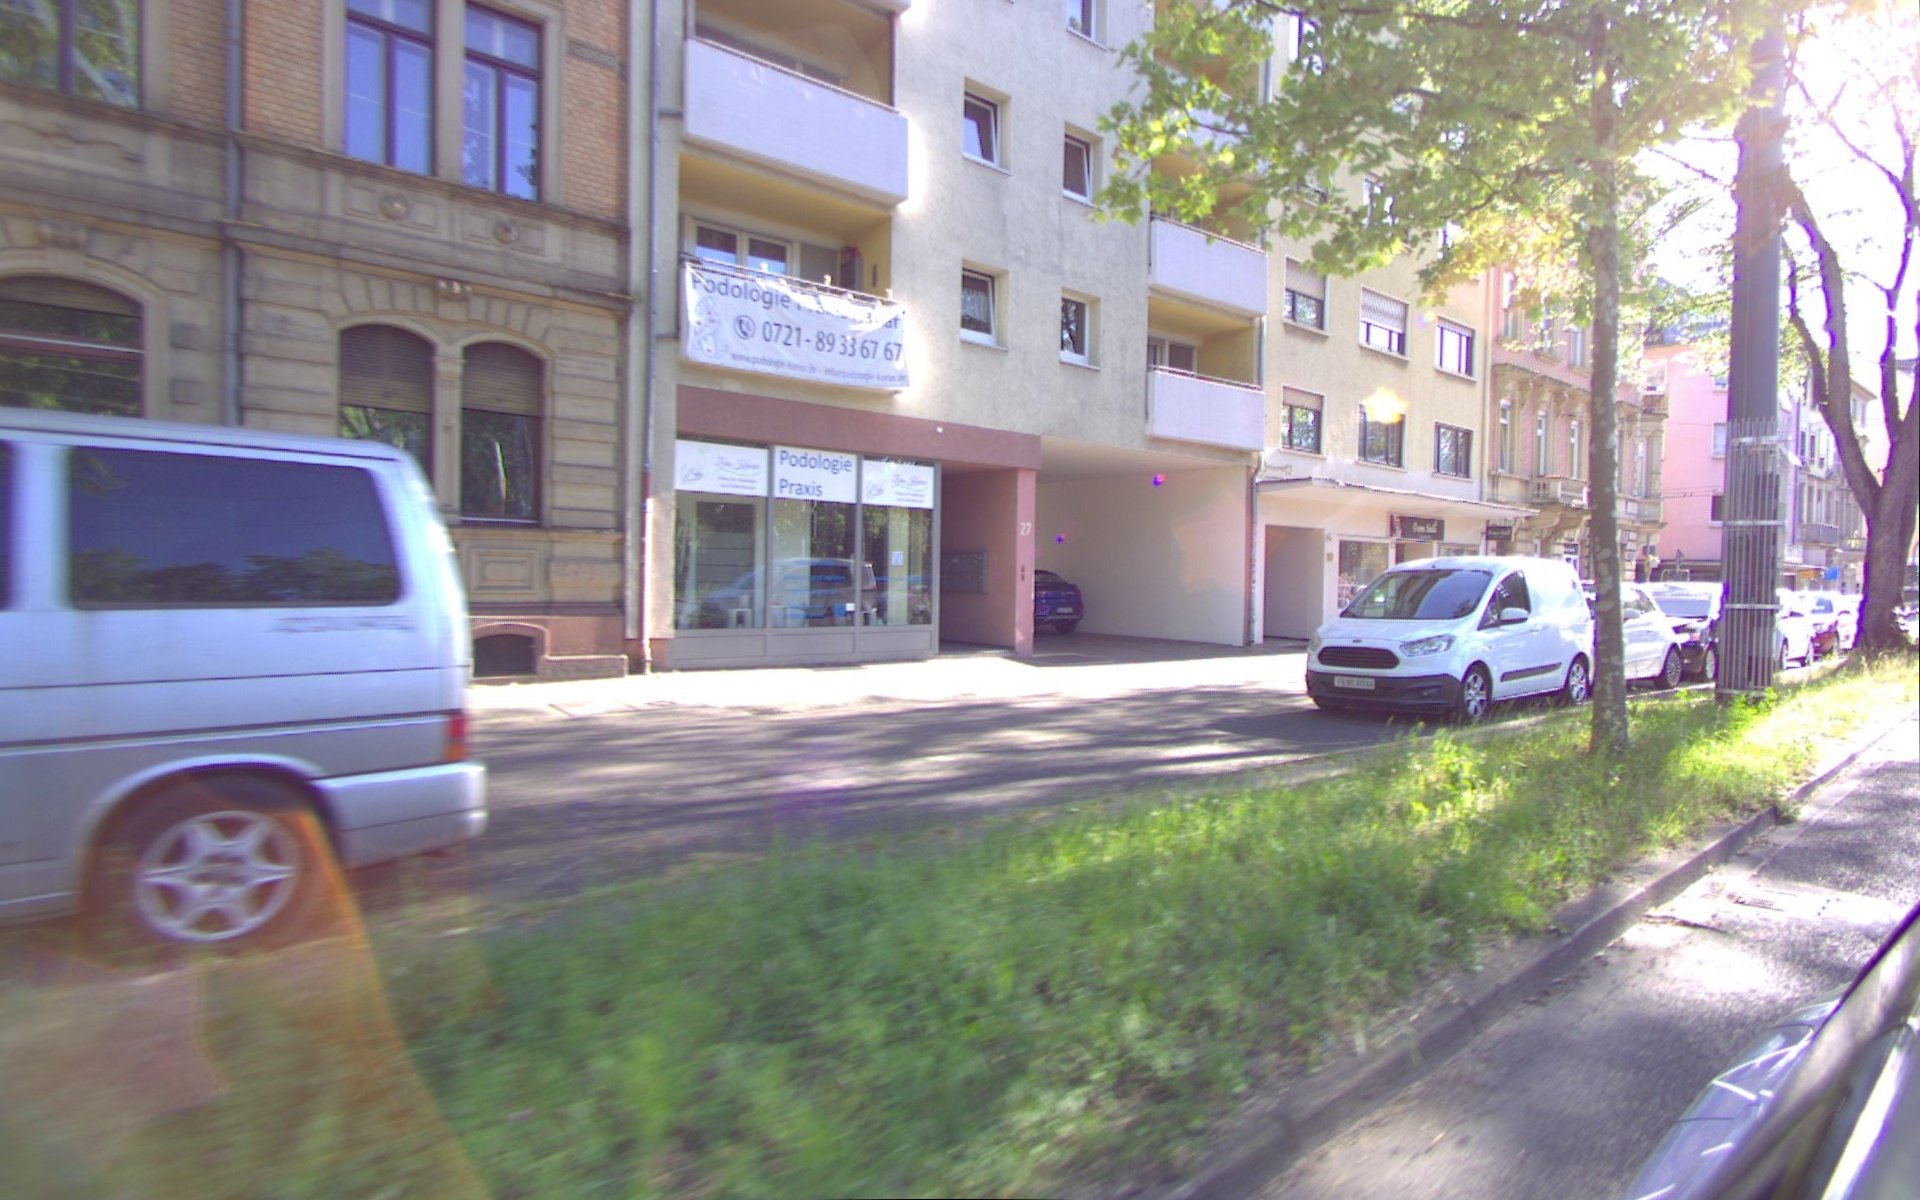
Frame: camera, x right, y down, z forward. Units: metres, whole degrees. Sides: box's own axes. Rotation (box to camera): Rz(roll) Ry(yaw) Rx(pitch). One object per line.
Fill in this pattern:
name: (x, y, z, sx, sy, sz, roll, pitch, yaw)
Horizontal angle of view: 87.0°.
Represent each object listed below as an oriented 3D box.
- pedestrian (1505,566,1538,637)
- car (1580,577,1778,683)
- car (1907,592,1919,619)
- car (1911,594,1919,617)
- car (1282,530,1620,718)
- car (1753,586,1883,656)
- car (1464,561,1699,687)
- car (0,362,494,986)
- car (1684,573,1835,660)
pedestrian: (16.376, 0.036, 29.516, 0.836, 2.039, 0.513, 1, -1, -36)
car: (11.538, 0.444, 16.174, 3.717, 1.504, 1.565, 0, -1, -38)
car: (57.317, 0.372, 59.625, 3.929, 1.537, 1.739, 0, 3, -40)
car: (63.334, 0.330, 64.164, 3.941, 1.469, 1.809, 0, -1, 15)
car: (5.413, 0.228, 10.964, 4.065, 1.689, 1.630, 0, -1, -37)
car: (19.421, 0.456, 22.864, 3.835, 1.453, 1.592, 0, -1, -40)
car: (8.437, 0.295, 13.668, 3.426, 1.499, 1.516, 0, -1, -36)
car: (-4.184, 0.217, 3.103, 4.712, 1.839, 1.869, 0, -1, -38)
car: (15.229, 0.305, 19.219, 3.633, 1.496, 1.628, 0, -1, -42)
